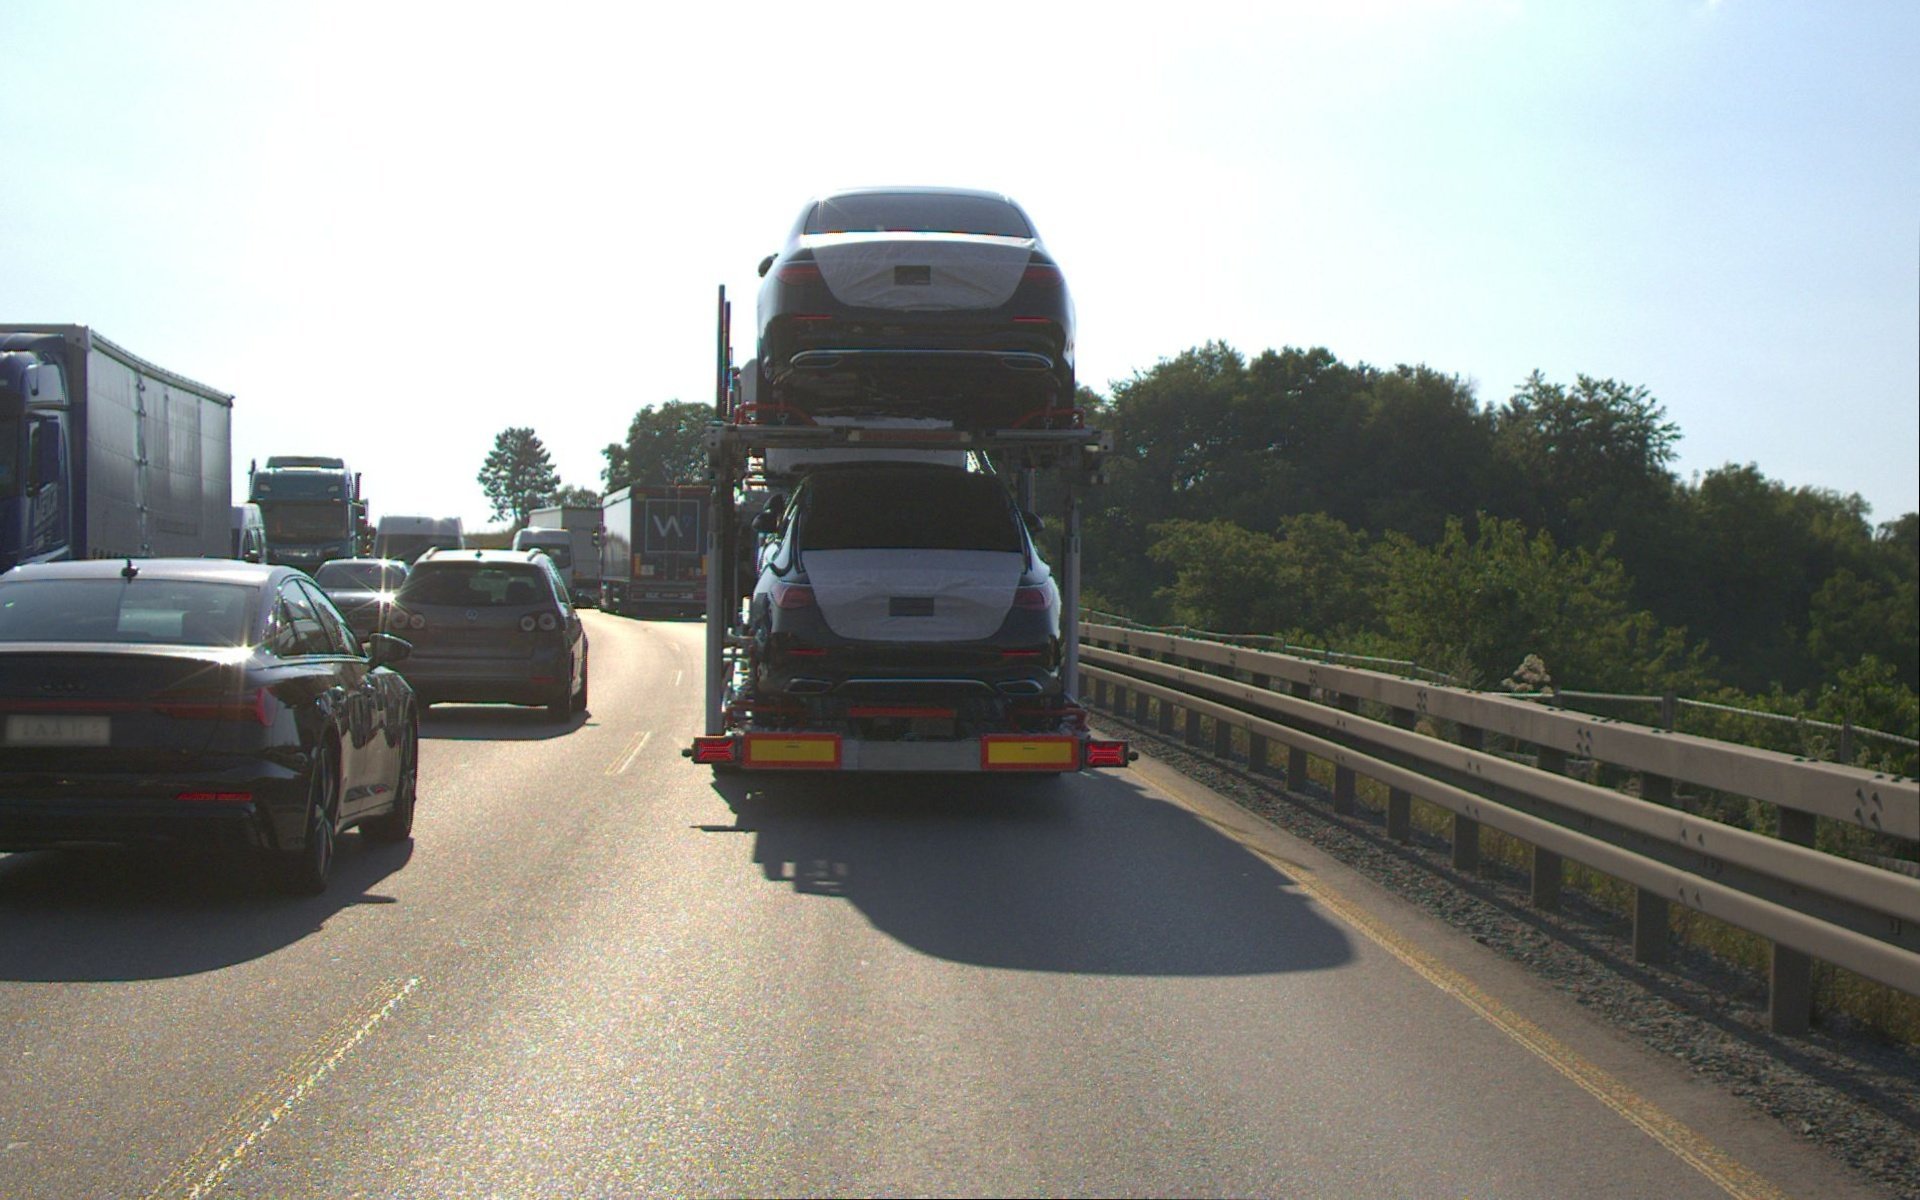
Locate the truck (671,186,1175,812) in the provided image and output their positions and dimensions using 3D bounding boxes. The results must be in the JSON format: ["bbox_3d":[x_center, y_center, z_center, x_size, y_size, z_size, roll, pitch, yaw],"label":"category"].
[{"bbox_3d":[-0.503,-0.607,24.603,2.799,3.485,10.606,1,0,-3],"label":"truck"}]

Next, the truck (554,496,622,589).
[{"bbox_3d":[-15.131,-2.315,140.307,2.530,3.635,8.907,1,0,-5],"label":"truck"}]

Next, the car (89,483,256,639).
[{"bbox_3d":[-13.540,-0.661,59.428,2.157,2.549,5.590,0,0,-6],"label":"car"}]

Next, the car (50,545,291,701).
[{"bbox_3d":[-8.095,0.202,35.585,1.759,1.503,4.255,1,0,-4],"label":"car"}]

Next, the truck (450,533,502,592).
[{"bbox_3d":[-26.617,-2.038,189.257,2.590,3.159,6.678,0,0,-6],"label":"truck"}]

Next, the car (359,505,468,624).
[{"bbox_3d":[-12.035,-0.781,76.060,2.056,2.491,6.777,0,0,-6],"label":"car"}]

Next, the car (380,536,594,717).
[{"bbox_3d":[-4.402,0.215,32.441,1.691,1.590,4.001,1,0,-4],"label":"car"}]

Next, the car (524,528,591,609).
[{"bbox_3d":[-12.796,-0.995,109.407,1.920,2.484,5.409,1,0,-5],"label":"car"}]

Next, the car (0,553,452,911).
[{"bbox_3d":[-3.708,0.497,16.263,1.934,1.394,4.961,1,1,-1],"label":"car"}]

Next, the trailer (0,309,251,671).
[{"bbox_3d":[-11.633,-1.328,46.449,2.306,4.116,14.603,1,0,-5],"label":"trailer"}]

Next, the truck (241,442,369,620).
[{"bbox_3d":[-15.476,-1.597,81.568,2.503,4.052,5.885,0,0,-6],"label":"truck"}]

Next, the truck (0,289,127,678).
[{"bbox_3d":[-11.156,-1.249,38.614,2.503,4.052,5.666,1,0,-3],"label":"truck"}]

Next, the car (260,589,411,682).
[{"bbox_3d":[-9.858,0.526,54.574,1.759,1.373,4.768,1,0,-3],"label":"car"}]

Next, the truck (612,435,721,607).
[{"bbox_3d":[-9.397,-2.454,110.119,3.285,5.219,9.937,1,0,-5],"label":"truck"}]

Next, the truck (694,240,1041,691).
[{"bbox_3d":[-1.159,-1.178,34.051,2.837,3.779,9.988,1,0,-5],"label":"truck"}]
